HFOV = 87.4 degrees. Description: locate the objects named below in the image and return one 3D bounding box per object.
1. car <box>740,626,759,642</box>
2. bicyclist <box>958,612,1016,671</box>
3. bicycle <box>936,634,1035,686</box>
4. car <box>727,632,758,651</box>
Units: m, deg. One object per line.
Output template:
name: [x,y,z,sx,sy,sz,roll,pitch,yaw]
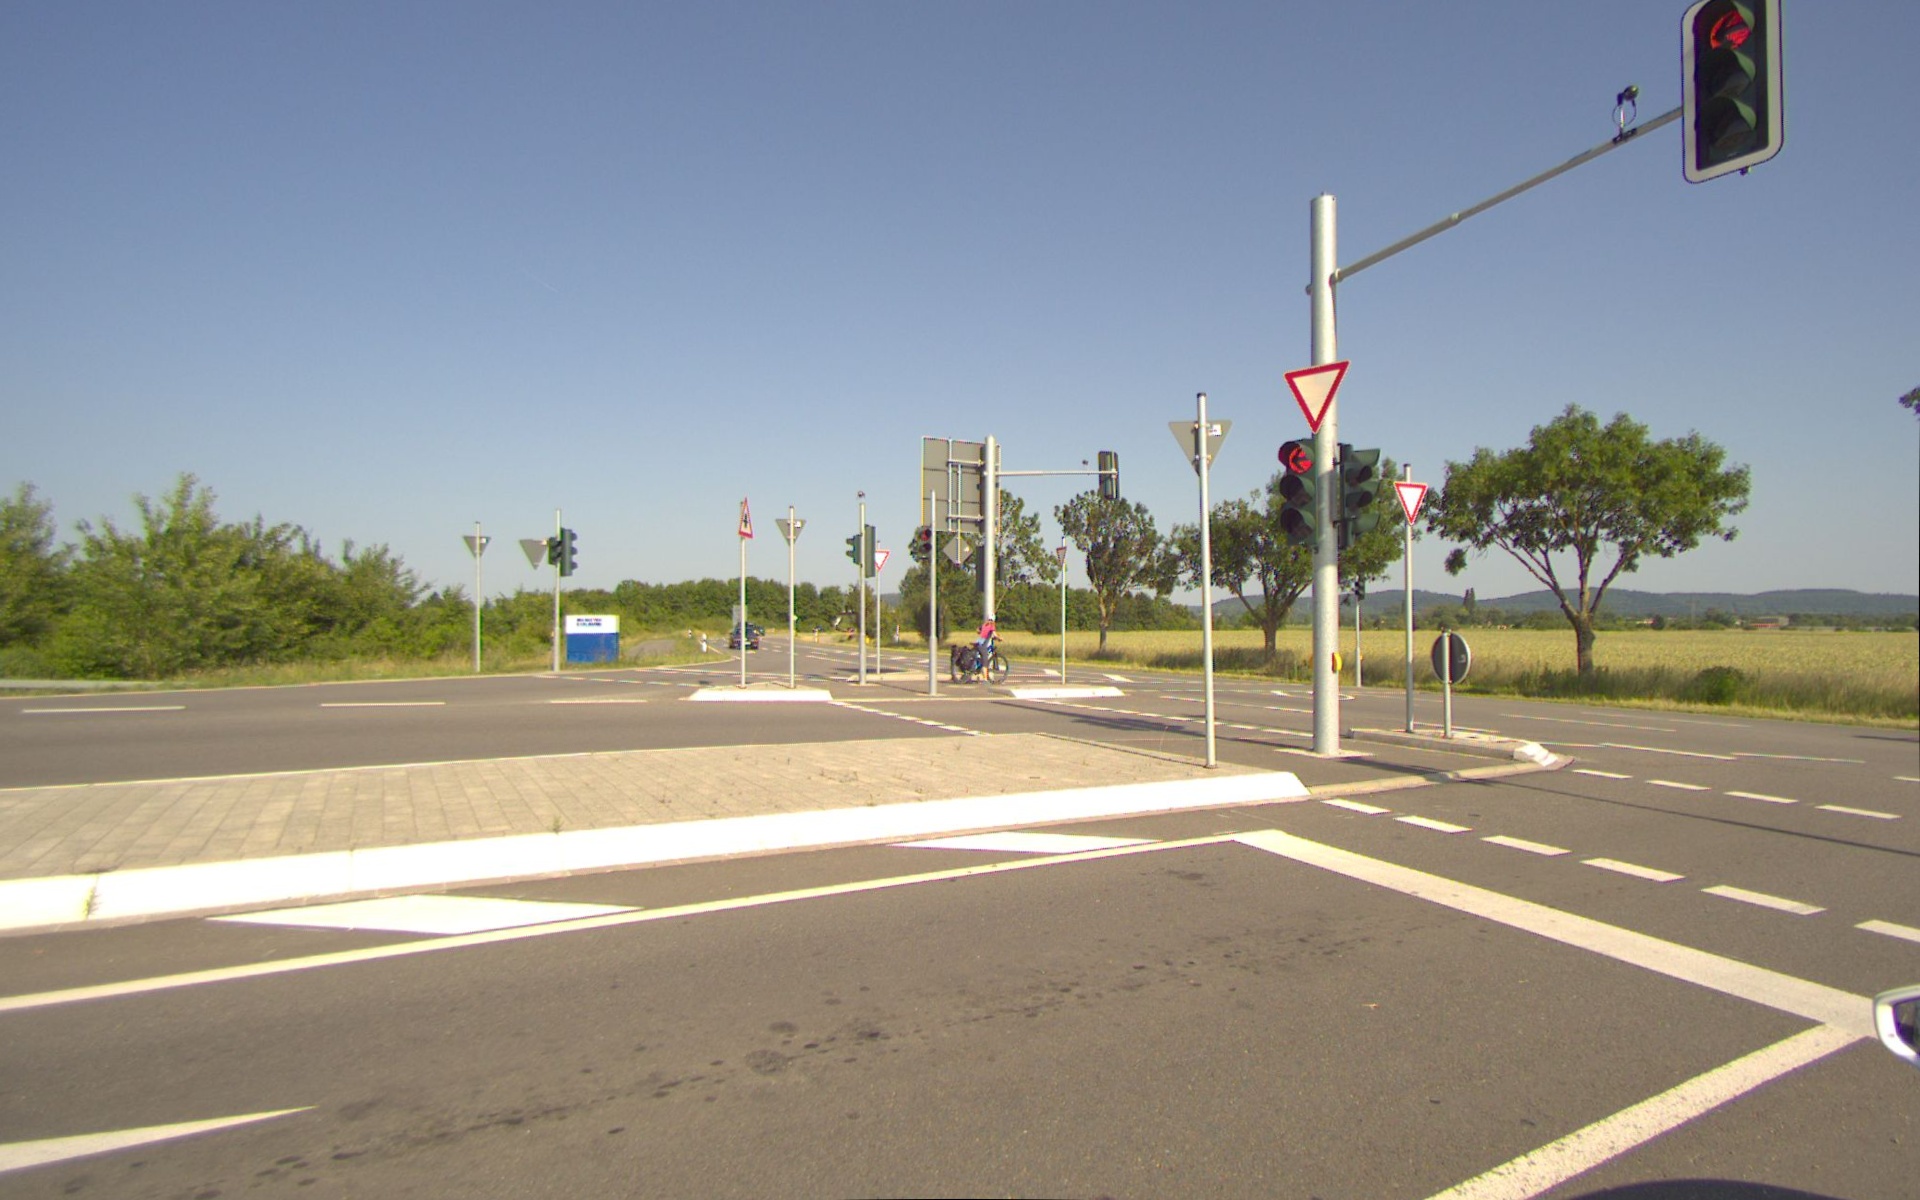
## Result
car: [-21.364,3.399,102.067,1.830,1.562,3.991,1,-2,-12]
bicyclist: [0.648,1.002,24.217,1.062,1.369,0.851,3,-1,-31]
bicycle: [0.628,1.441,24.157,2.126,1.164,1.065,3,-1,-31]
car: [-13.828,2.622,63.661,1.711,1.127,3.988,2,-2,-15]
